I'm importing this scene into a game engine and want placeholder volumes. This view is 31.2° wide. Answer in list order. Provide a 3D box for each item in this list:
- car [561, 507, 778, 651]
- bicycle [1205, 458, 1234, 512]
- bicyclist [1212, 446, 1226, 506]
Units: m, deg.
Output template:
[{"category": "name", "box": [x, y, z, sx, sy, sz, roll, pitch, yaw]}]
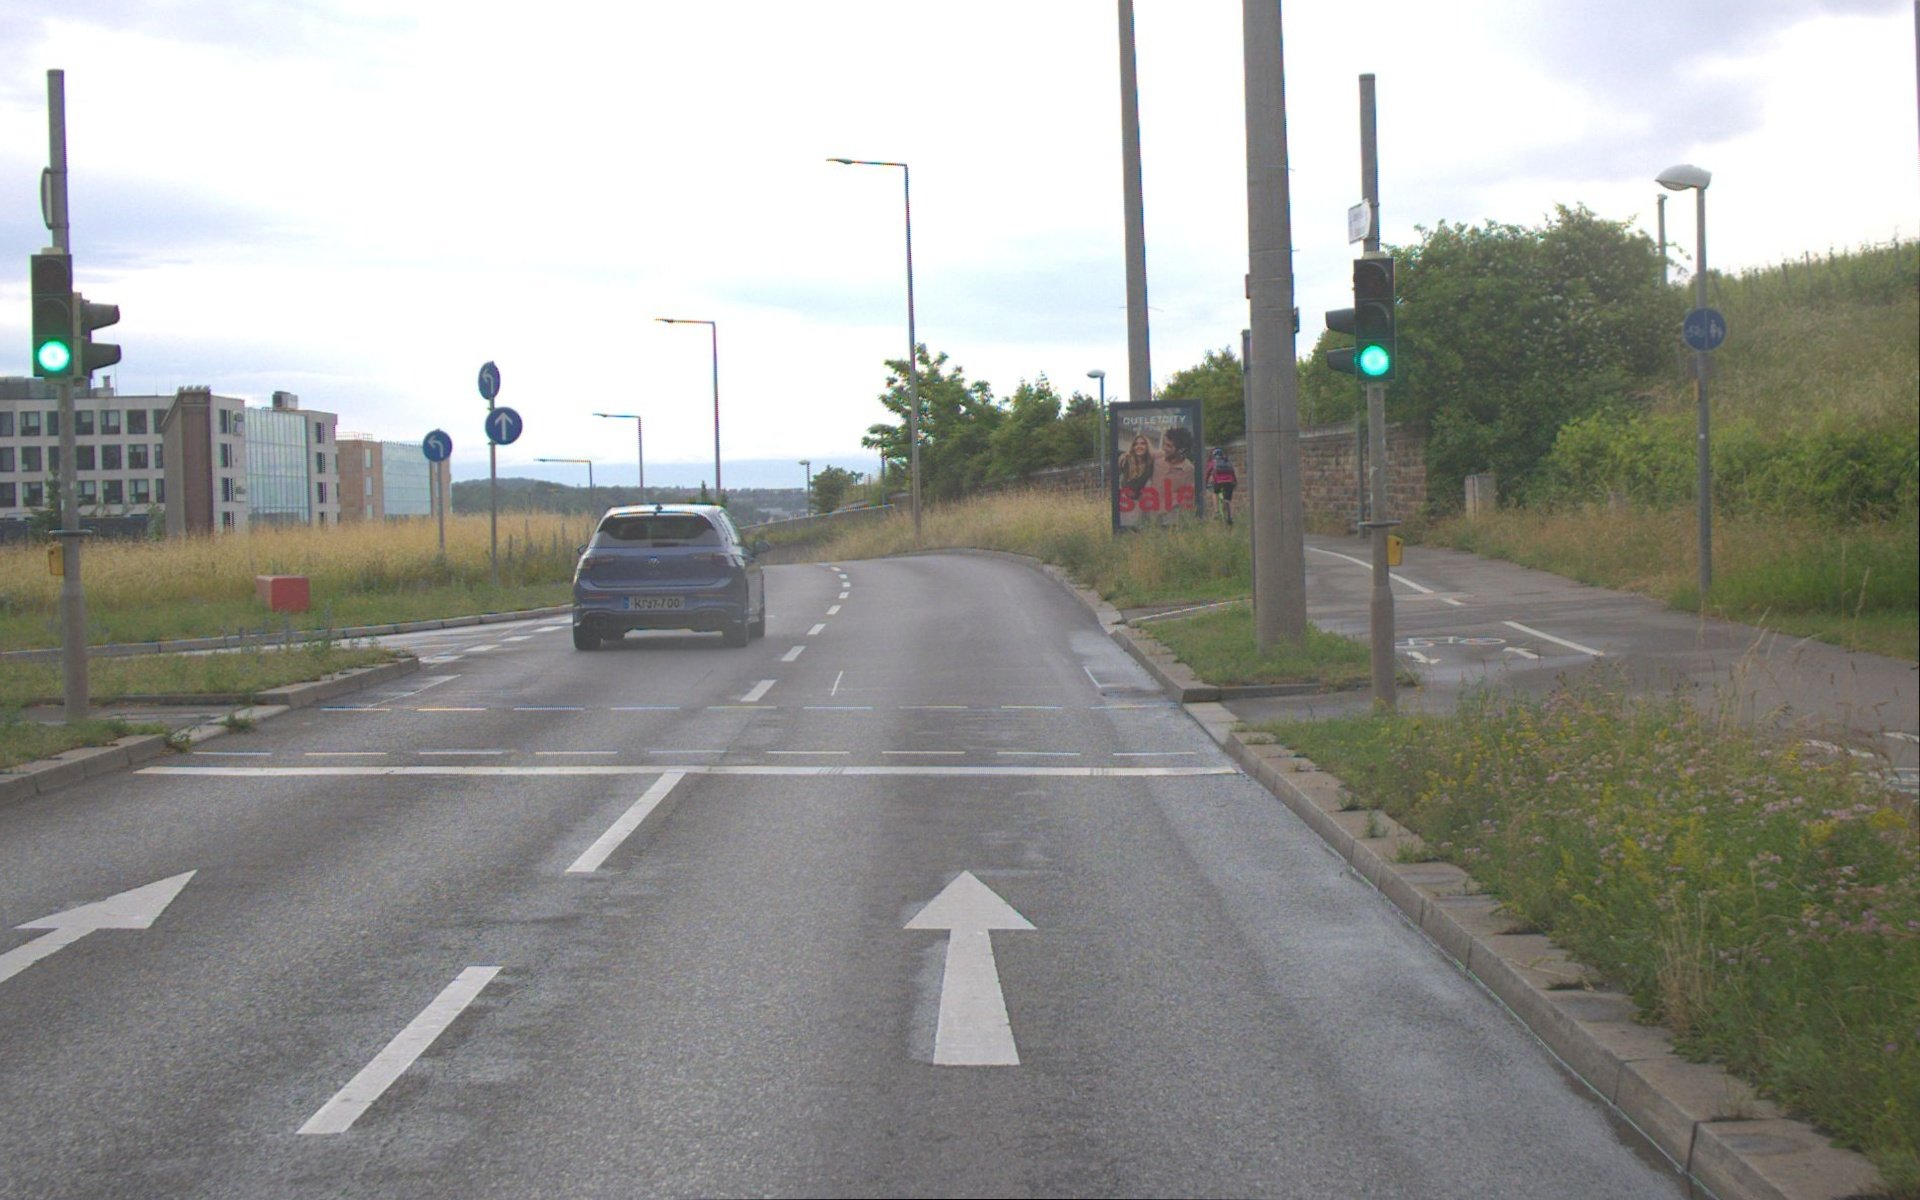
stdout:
[{"category": "car", "box": [-2.966, -0.249, 35.833, 1.838, 1.389, 4.000, 1, 1, 1]}, {"category": "bicycle", "box": [5.159, -2.295, 68.407, 0.551, 1.064, 0.615, 0, 2, 2]}, {"category": "bicyclist", "box": [5.154, -2.463, 68.390, 0.265, 1.191, 0.315, 0, 2, 2]}]
